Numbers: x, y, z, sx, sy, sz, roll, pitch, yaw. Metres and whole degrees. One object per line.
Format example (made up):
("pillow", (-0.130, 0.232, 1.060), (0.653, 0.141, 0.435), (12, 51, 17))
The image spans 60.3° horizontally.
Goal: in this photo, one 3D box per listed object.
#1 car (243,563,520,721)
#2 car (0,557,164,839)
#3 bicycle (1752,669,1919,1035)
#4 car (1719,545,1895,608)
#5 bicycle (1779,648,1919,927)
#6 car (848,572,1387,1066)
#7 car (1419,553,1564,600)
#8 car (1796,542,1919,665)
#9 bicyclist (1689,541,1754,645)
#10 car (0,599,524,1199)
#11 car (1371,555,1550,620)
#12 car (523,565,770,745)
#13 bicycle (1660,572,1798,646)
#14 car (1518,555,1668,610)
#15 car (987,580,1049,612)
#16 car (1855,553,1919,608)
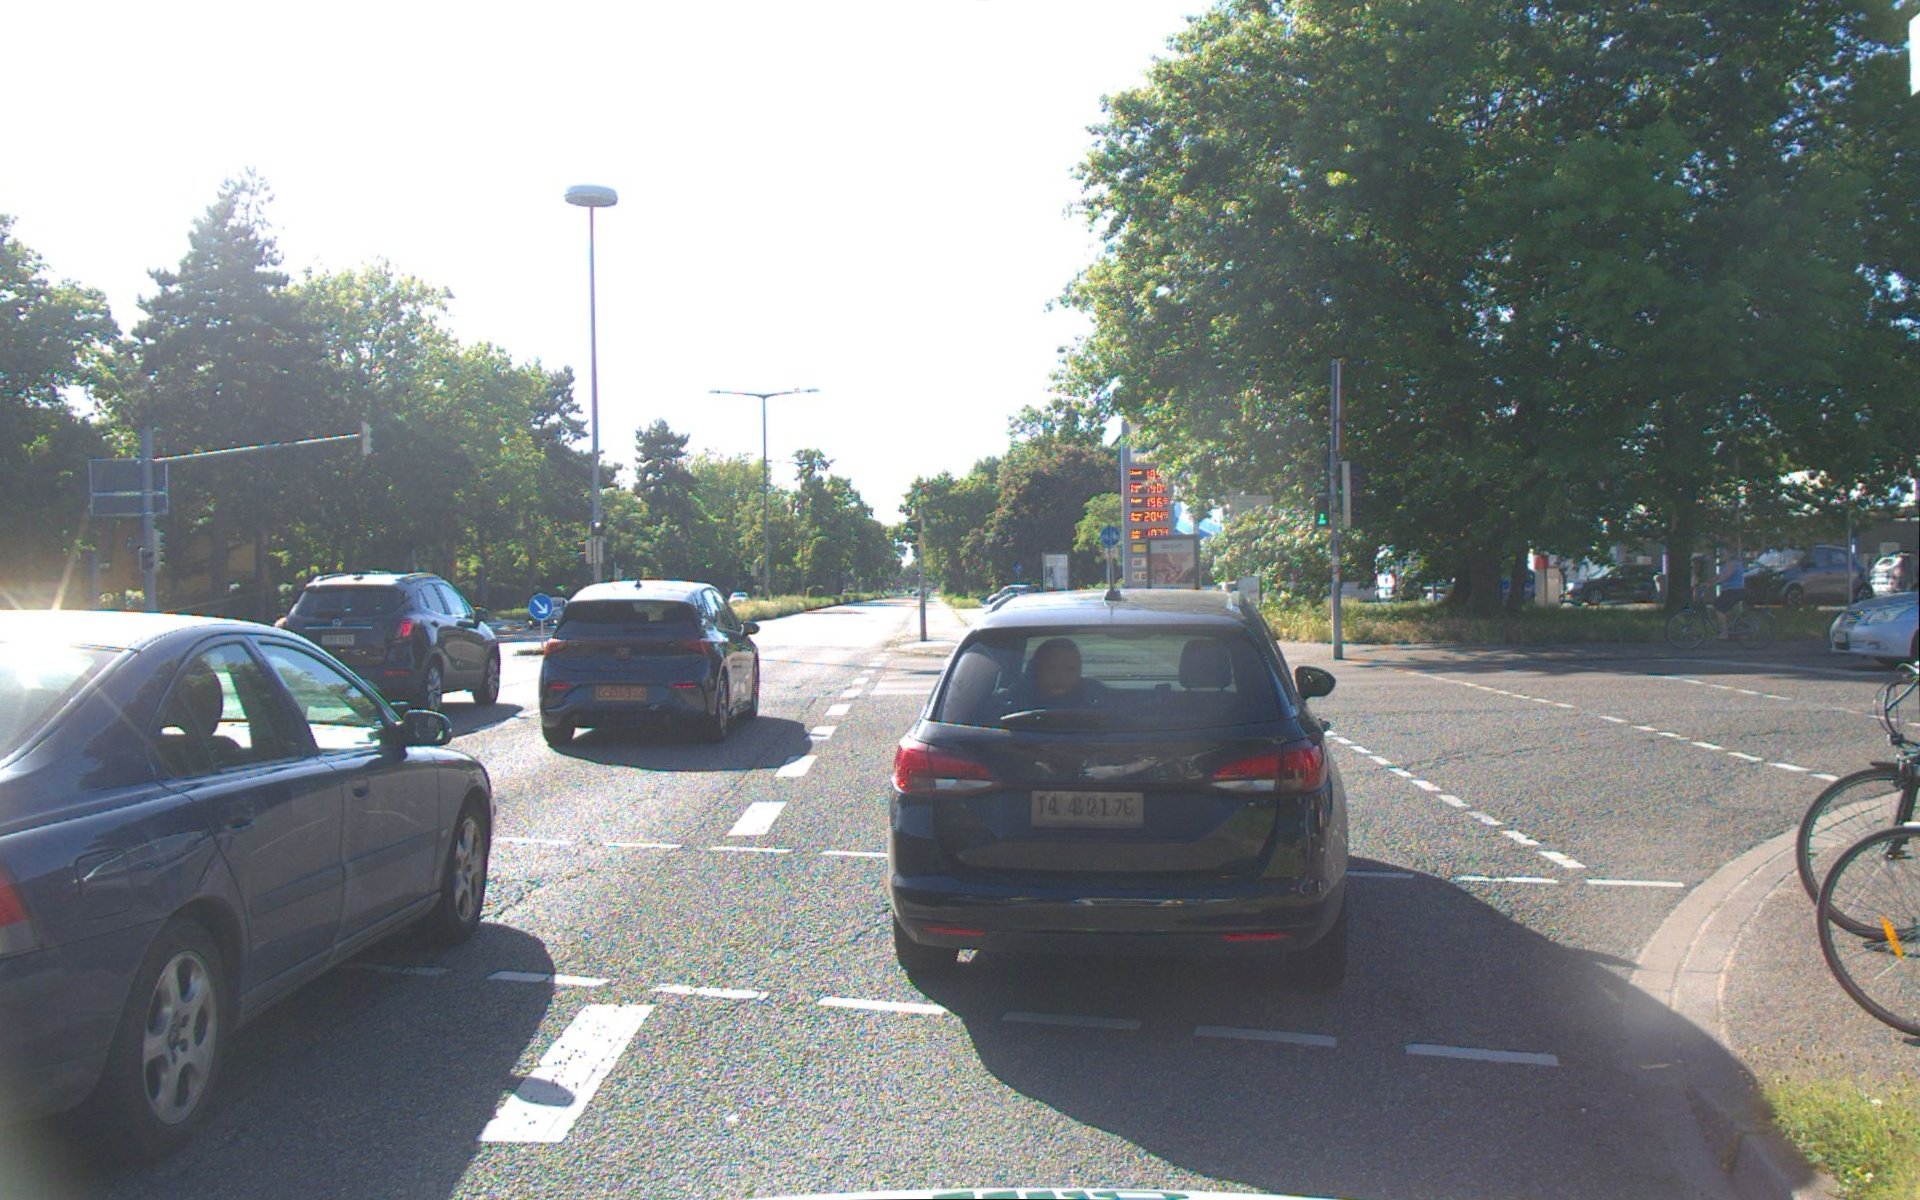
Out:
("car", (-6.829, 0.457, 20.054), (1.872, 1.681, 4.364), (1, 0, -1))
("car", (-6.676, 0.571, 9.550), (1.902, 1.681, 4.366), (1, 0, 2))
("bicycle", (3.438, 0.737, 4.912), (1.835, 1.095, 0.528), (-5, -4, 39))
("car", (20.407, -0.546, 39.843), (3.936, 1.400, 1.746), (1, 0, -25))
("bicycle", (4.299, 0.724, 6.510), (1.831, 1.095, 0.529), (-4, -3, 34))
("car", (0.849, 0.667, 7.471), (1.724, 1.517, 4.295), (-1, 1, 10))
("car", (16.446, -0.703, 51.263), (3.917, 1.358, 1.794), (1, 0, -12))
("car", (13.533, 0.002, 21.092), (4.769, 1.515, 1.844), (-1, 0, 11))
("bicyclist", (12.550, -0.112, 27.265), (0.810, 1.670, 0.543), (-1, 0, 5))
("car", (-2.909, 0.720, 5.535), (1.799, 1.419, 4.364), (1, 0, -1))
("car", (17.088, -0.421, 56.662), (5.521, 2.136, 1.999), (1, 0, -2))
("car", (-3.117, 0.503, 17.313), (1.799, 1.616, 4.364), (1, 0, -1))
("bicycle", (12.653, 0.151, 27.255), (1.976, 1.161, 0.529), (-2, 0, 5))
("car", (18.511, -0.498, 48.414), (3.915, 1.538, 1.528), (1, 0, -11))
("car", (3.827, -0.291, 109.623), (1.982, 2.049, 3.940), (1, 0, -41))
("car", (29.635, -0.556, 50.150), (3.907, 1.635, 1.999), (1, 0, -2))
